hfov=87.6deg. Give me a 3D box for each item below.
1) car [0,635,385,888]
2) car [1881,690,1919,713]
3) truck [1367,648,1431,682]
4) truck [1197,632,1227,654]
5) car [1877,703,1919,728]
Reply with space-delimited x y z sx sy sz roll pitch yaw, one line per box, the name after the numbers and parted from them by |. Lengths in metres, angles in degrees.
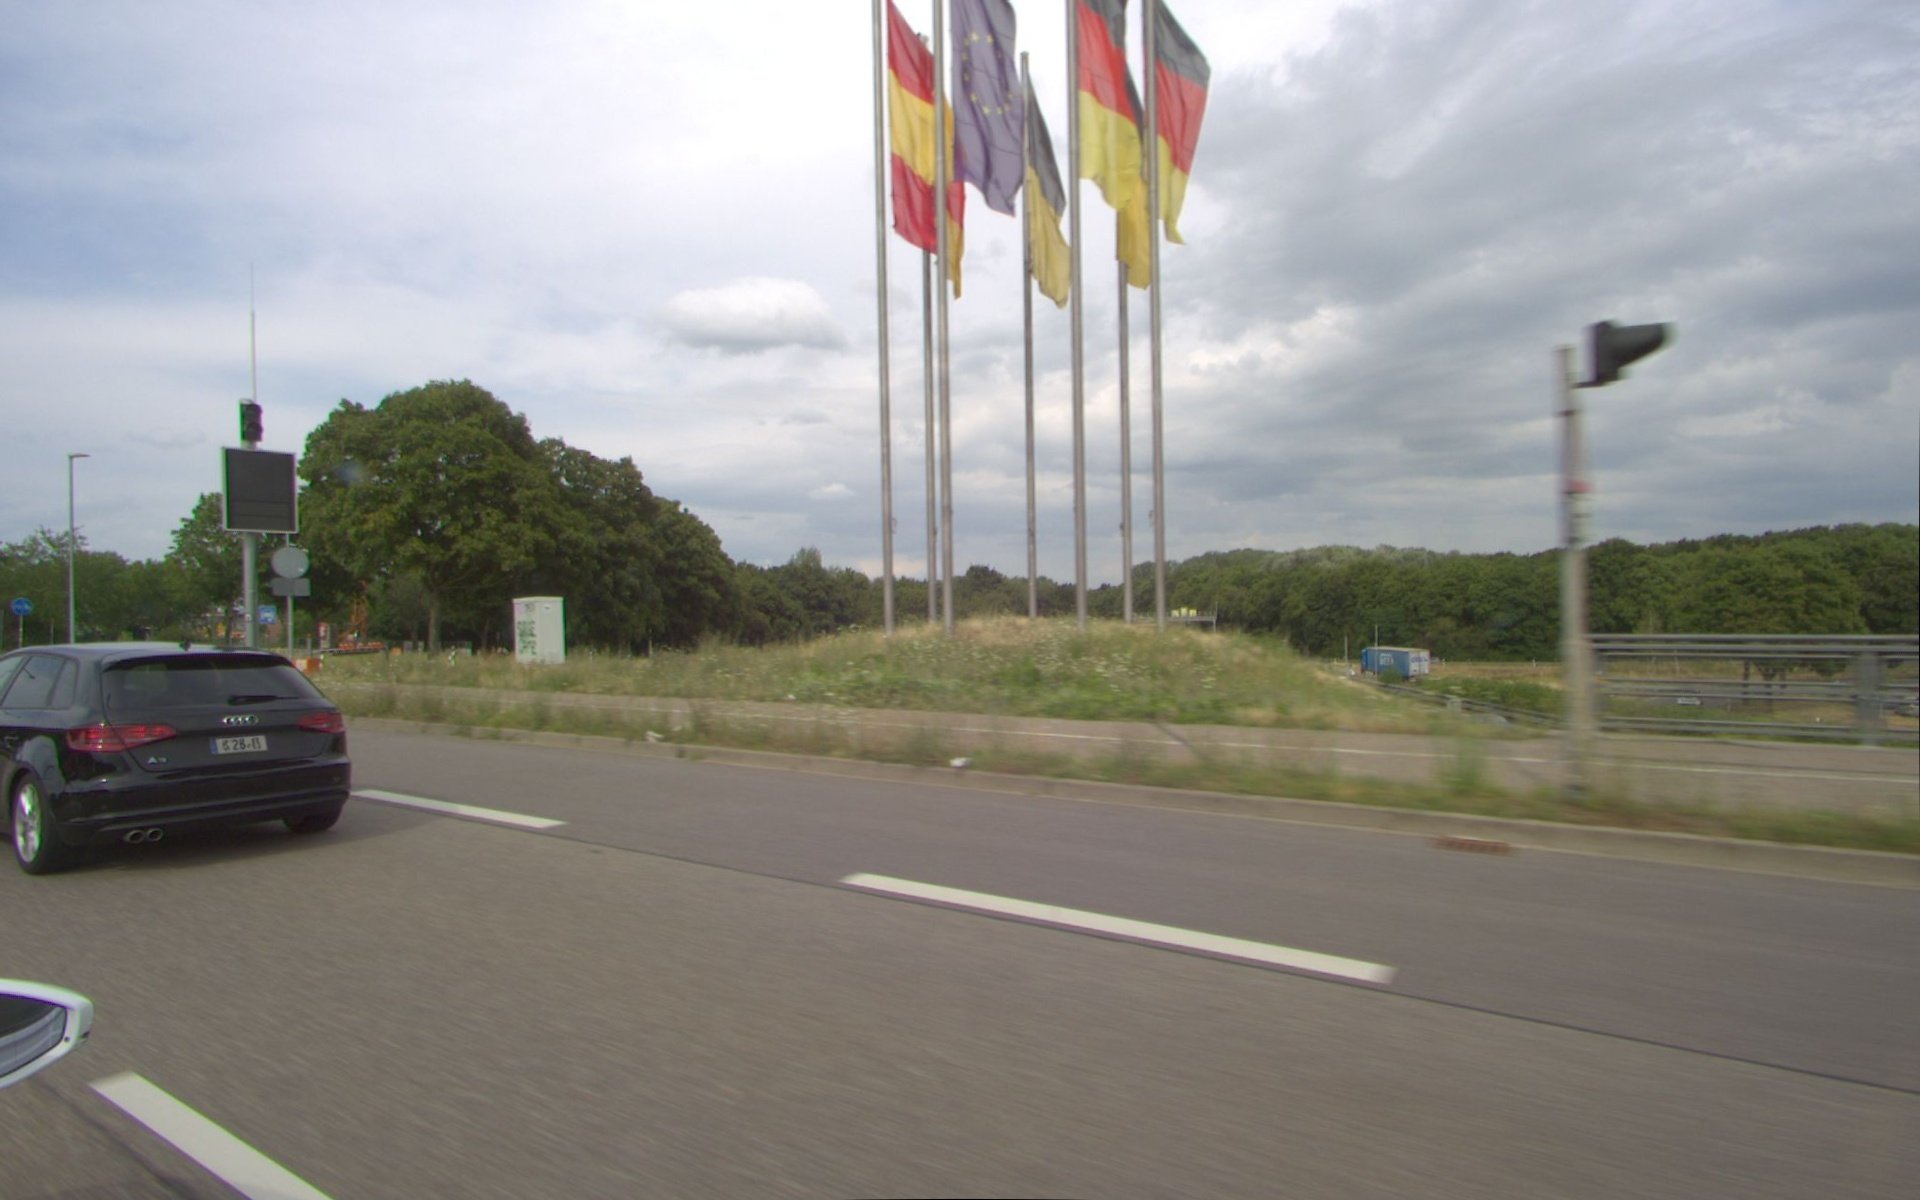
-6.251 0.972 7.450 4.056 1.412 1.728 -1 -2 32 | car
76.409 8.108 79.792 3.924 1.594 1.999 0 -1 12 | car
54.680 7.964 125.242 3.292 3.664 13.997 1 -2 6 | truck
55.564 9.420 221.040 3.778 4.518 12.659 1 -2 2 | truck
71.042 8.598 74.344 3.924 1.594 1.999 0 -1 12 | car
